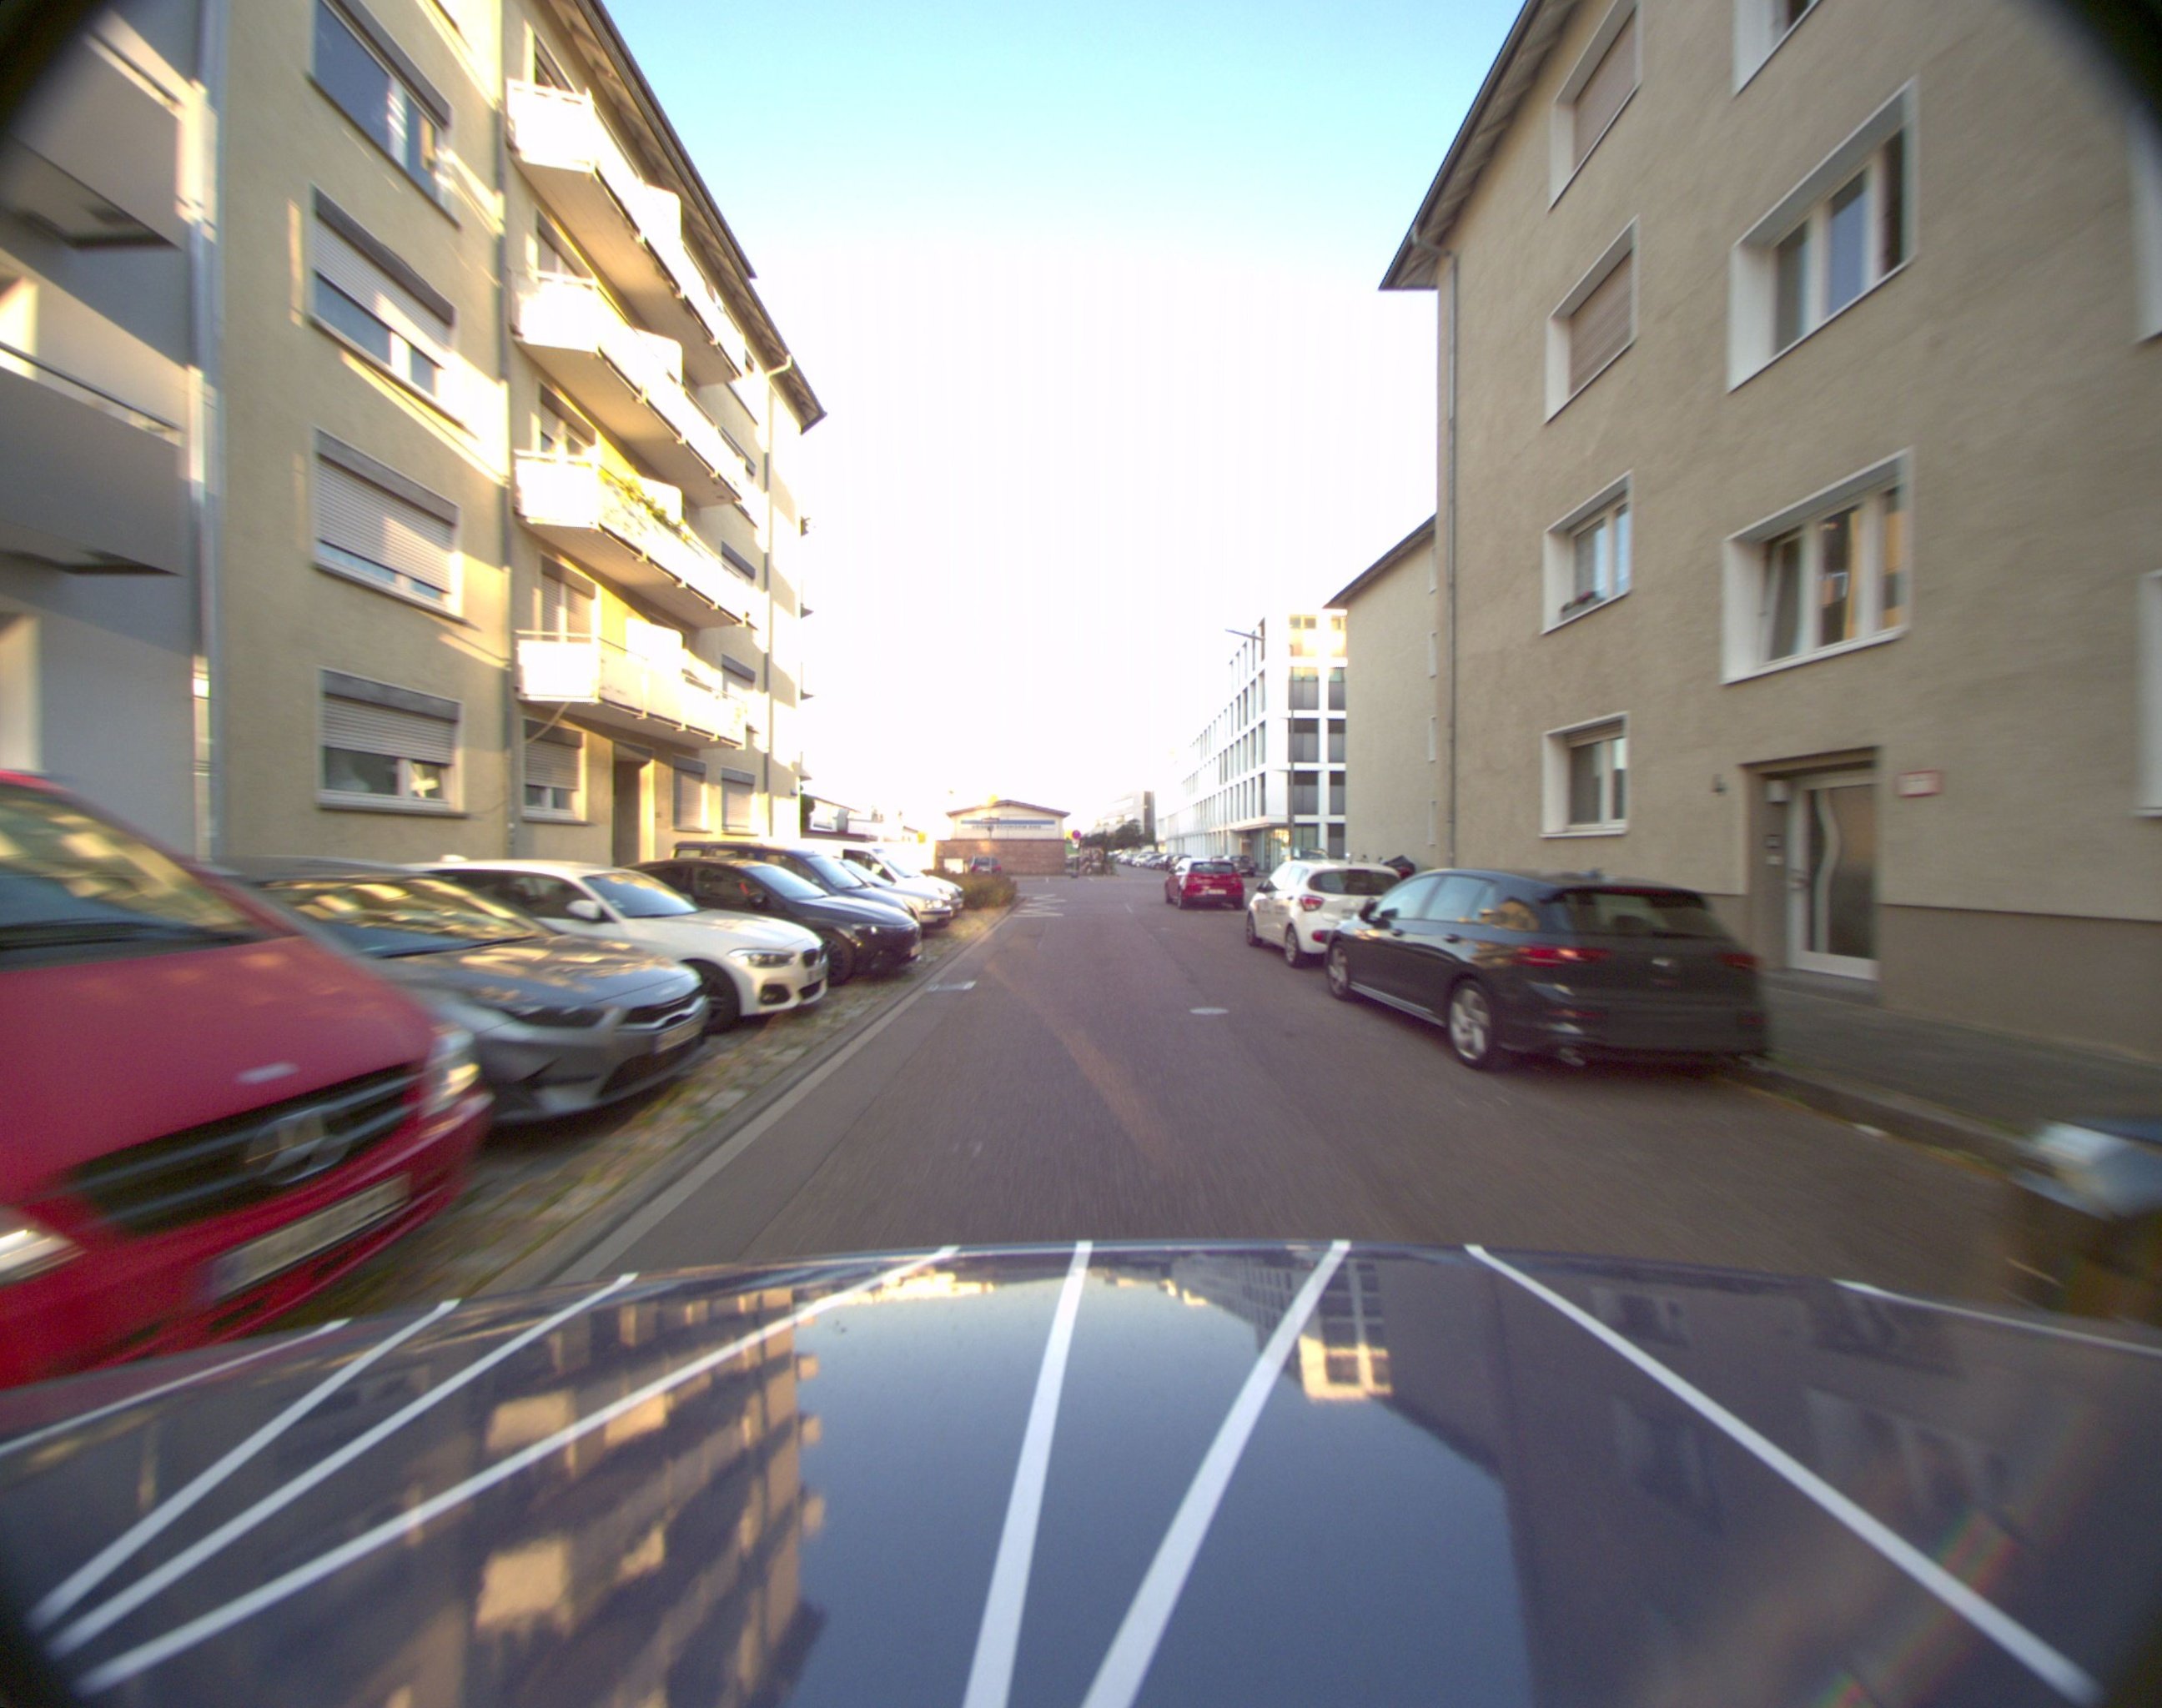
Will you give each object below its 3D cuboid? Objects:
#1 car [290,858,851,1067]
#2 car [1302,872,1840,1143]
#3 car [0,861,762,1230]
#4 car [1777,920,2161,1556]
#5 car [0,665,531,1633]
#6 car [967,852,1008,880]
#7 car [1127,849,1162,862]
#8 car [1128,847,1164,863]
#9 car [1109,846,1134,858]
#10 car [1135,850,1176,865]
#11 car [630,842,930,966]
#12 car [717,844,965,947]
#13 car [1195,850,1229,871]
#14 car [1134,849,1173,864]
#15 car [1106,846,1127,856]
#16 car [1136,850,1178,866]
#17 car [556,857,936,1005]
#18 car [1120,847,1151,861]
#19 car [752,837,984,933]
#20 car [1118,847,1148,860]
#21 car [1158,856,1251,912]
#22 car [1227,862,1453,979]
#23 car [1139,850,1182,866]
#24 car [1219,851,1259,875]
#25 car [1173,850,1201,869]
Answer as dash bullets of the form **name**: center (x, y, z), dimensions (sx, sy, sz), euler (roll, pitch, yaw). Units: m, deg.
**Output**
- **car**: center (-4.515, 0.899, 7.248), dimensions (3.996, 1.674, 2.000), euler (0, 1, 2)
- **car**: center (3.513, 0.947, 6.649), dimensions (1.792, 1.436, 4.431), euler (-1, 0, -1)
- **car**: center (-4.384, 0.876, 4.643), dimensions (3.994, 1.630, 2.001), euler (0, 1, 7)
- **car**: center (3.611, 0.977, 0.636), dimensions (1.998, 1.436, 4.431), euler (-1, 0, 0)
- **car**: center (-4.554, 0.612, 2.046), dimensions (4.685, 1.988, 2.000), euler (0, 1, 1)
- **car**: center (-5.410, 0.642, 43.525), dimensions (2.000, 1.481, 4.427), euler (-1, 0, -11)
- **car**: center (7.485, 0.130, 89.549), dimensions (3.996, 1.477, 2.000), euler (0, 1, 2)
- **car**: center (7.456, 0.052, 87.296), dimensions (3.996, 1.805, 2.000), euler (0, 1, 2)
- **car**: center (6.744, -0.323, 126.585), dimensions (3.997, 2.002, 2.000), euler (0, 1, 0)
- **car**: center (7.547, 0.359, 77.377), dimensions (3.996, 1.477, 2.000), euler (0, 1, 3)
- **car**: center (-4.653, 0.737, 12.218), dimensions (3.996, 1.827, 2.000), euler (0, 1, 1)
- **car**: center (-4.361, 0.724, 14.306), dimensions (3.996, 1.783, 2.000), euler (0, 1, 1)
- **car**: center (9.471, 0.438, 55.093), dimensions (1.998, 1.477, 4.001), euler (0, 0, 3)
- **car**: center (7.547, 0.240, 79.492), dimensions (3.996, 1.477, 2.000), euler (0, 1, 2)
- **car**: center (7.049, -0.616, 151.873), dimensions (3.997, 2.002, 2.000), euler (0, 1, 0)
- **car**: center (7.453, 0.392, 74.758), dimensions (3.996, 1.477, 2.000), euler (0, 1, 3)
- **car**: center (-4.102, 0.895, 9.818), dimensions (3.996, 1.674, 2.000), euler (0, 1, 3)
- **car**: center (7.211, -0.023, 100.756), dimensions (3.996, 1.740, 2.000), euler (0, 1, 1)
- **car**: center (-4.505, 0.625, 16.570), dimensions (4.427, 1.957, 2.000), euler (0, 1, 3)
- **car**: center (7.063, -0.048, 103.433), dimensions (3.996, 1.740, 2.000), euler (0, 1, 1)
- **car**: center (3.575, 0.822, 22.804), dimensions (1.999, 1.481, 4.431), euler (-1, 0, -1)
- **car**: center (3.775, 0.880, 12.025), dimensions (1.999, 1.436, 4.431), euler (-1, 0, -1)
- **car**: center (7.557, 0.413, 72.471), dimensions (3.996, 1.477, 2.000), euler (0, 1, 3)
- **car**: center (10.166, 0.573, 49.127), dimensions (1.998, 1.477, 4.001), euler (0, 0, 3)
- **car**: center (8.973, 0.429, 64.723), dimensions (1.998, 1.510, 4.001), euler (0, 0, 3)
